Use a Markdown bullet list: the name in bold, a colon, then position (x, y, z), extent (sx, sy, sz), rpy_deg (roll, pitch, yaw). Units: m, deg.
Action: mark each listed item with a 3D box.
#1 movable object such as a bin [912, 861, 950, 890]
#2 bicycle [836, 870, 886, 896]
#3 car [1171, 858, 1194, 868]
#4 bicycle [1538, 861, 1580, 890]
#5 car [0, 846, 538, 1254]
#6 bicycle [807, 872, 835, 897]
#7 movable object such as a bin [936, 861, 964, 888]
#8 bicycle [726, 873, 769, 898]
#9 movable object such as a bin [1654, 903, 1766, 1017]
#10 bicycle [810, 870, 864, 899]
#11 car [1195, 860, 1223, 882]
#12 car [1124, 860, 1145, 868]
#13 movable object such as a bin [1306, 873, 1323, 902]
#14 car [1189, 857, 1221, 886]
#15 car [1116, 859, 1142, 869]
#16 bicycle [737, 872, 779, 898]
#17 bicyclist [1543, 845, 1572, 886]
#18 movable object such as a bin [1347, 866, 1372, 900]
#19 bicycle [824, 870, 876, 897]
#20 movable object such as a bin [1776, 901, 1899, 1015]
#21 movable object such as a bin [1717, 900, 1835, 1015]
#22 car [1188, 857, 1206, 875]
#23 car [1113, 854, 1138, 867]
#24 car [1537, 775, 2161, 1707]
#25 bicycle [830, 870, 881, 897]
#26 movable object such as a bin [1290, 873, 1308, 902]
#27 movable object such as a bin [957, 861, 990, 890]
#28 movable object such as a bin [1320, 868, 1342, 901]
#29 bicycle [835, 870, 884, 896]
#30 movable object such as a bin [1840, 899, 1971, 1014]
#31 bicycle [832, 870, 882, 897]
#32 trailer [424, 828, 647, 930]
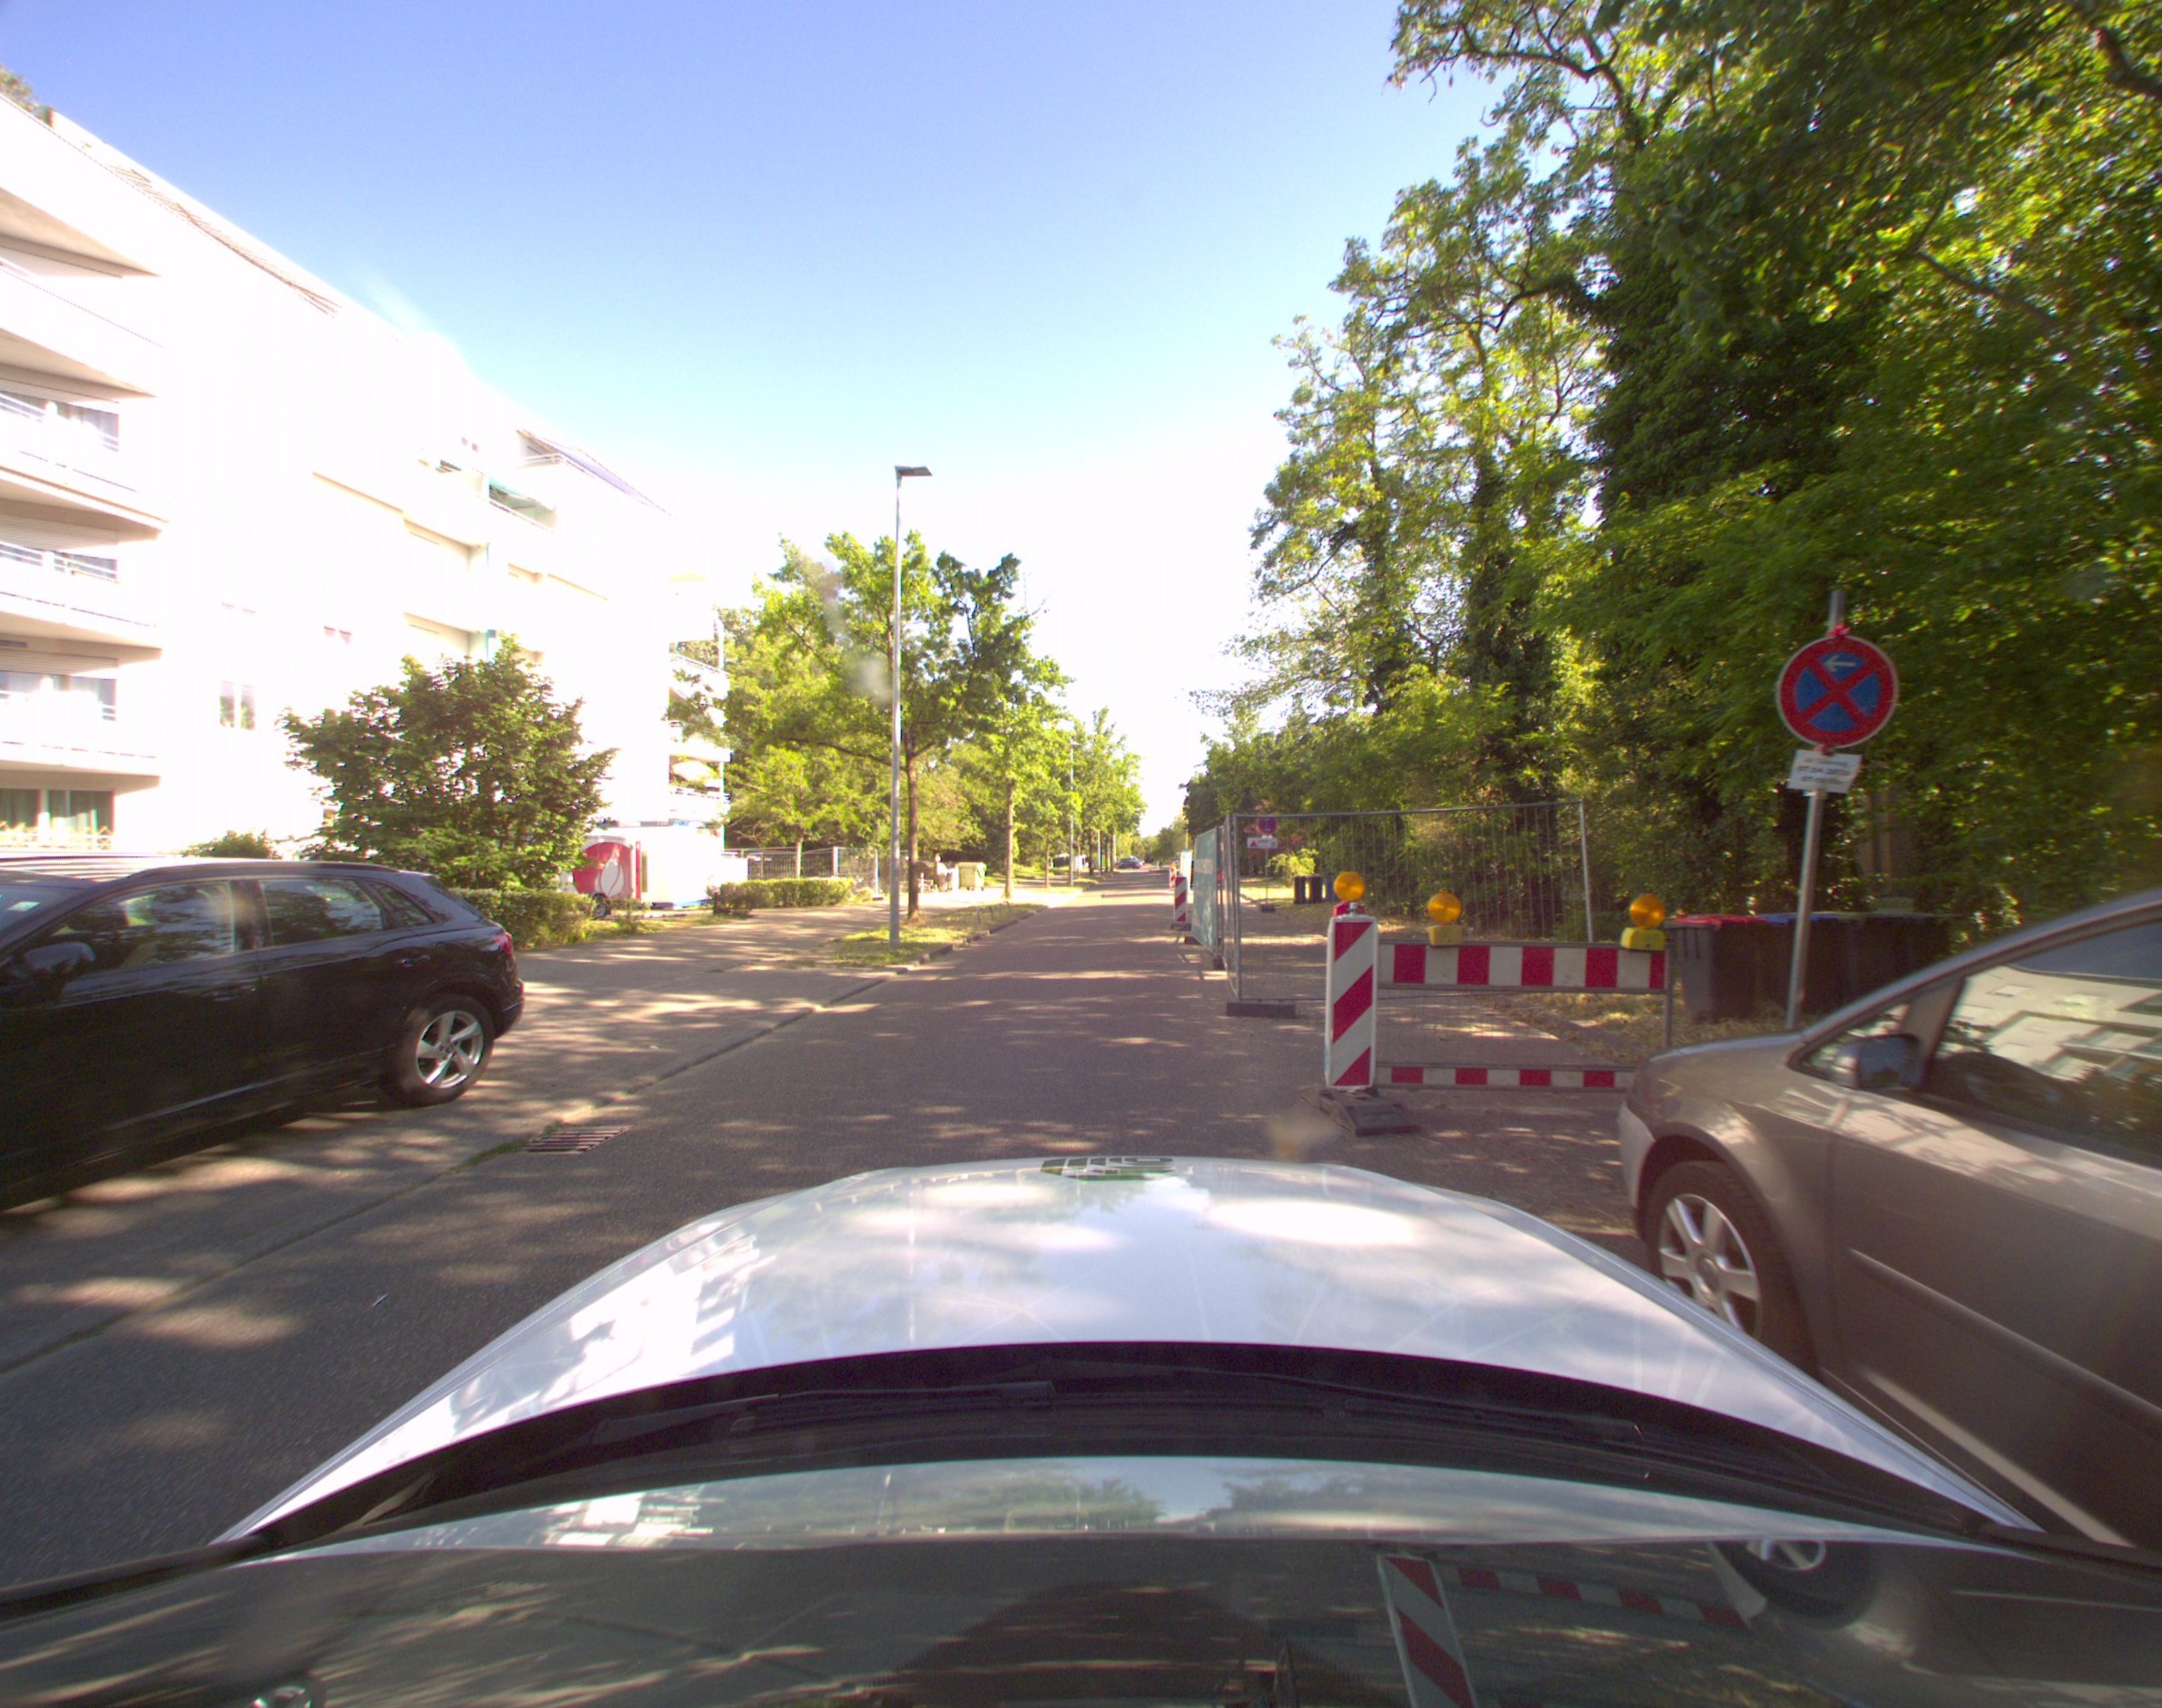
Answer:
- **movable object such as a bin**: position (-7.553, 1.066, 41.016), extent (1.257, 1.435, 1.334), rpy_deg (-2, -1, 33)
- **bicycle**: position (-8.931, 1.168, 33.135), extent (1.913, 1.027, 0.399), rpy_deg (-1, -2, -8)
- **car**: position (17.546, 1.593, 140.778), extent (3.813, 1.576, 1.694), rpy_deg (1, -1, 12)
- **bicycle**: position (17.748, 0.797, 30.273), extent (0.629, 1.040, 1.787), rpy_deg (-1, -1, 5)
- **car**: position (-5.129, 0.778, 4.004), extent (1.767, 1.621, 4.227), rpy_deg (1, 0, 5)
- **bicycle**: position (-10.932, 1.282, 34.287), extent (0.397, 1.027, 1.704), rpy_deg (-1, -1, 8)
- **movable object such as a bin**: position (-7.066, 1.096, 43.841), extent (1.148, 1.435, 1.261), rpy_deg (-1, -1, -28)
- **bicycle**: position (-13.712, 1.291, 33.445), extent (1.684, 1.027, 0.402), rpy_deg (-1, -2, 11)
- **movable object such as a bin**: position (5.134, 0.850, 6.671), extent (0.481, 0.861, 0.560), rpy_deg (-1, -1, 3)
- **bicycle**: position (-9.085, 1.143, 30.360), extent (1.867, 1.027, 0.399), rpy_deg (-1, -2, -8)
- **car**: position (8.753, 1.143, 55.949), extent (1.653, 1.375, 4.161), rpy_deg (1, 0, 5)
- **car**: position (10.637, 2.022, 162.321), extent (4.084, 1.576, 1.962), rpy_deg (1, -1, 7)
- **movable object such as a bin**: position (7.262, 1.025, 25.322), extent (0.411, 0.870, 0.485), rpy_deg (-3, -1, 6)
- **car**: position (7.522, 1.002, 49.192), extent (1.799, 1.651, 4.432), rpy_deg (1, 0, 10)
- **car**: position (8.603, 1.787, 146.117), extent (4.289, 1.576, 2.053), rpy_deg (1, -1, 12)
- **bicycle**: position (-13.538, 1.295, 34.109), extent (1.684, 1.027, 0.402), rpy_deg (-1, -2, 11)
- **bicyclist**: position (17.751, 0.441, 30.359), extent (0.629, 1.499, 0.841), rpy_deg (-1, -1, 5)
- **movable object such as a bin**: position (8.569, 0.894, 25.070), extent (0.560, 0.999, 0.609), rpy_deg (-3, -1, 6)
- **bicycle**: position (-8.859, 1.132, 31.287), extent (1.853, 1.027, 0.399), rpy_deg (-1, -2, -8)
- **movable object such as a bin**: position (6.141, 0.829, 6.636), extent (0.481, 0.861, 0.560), rpy_deg (-1, -1, 3)
- **movable object such as a bin**: position (5.647, 0.824, 6.642), extent (0.481, 0.861, 0.560), rpy_deg (-1, -1, 3)
- **car**: position (11.467, 1.159, 80.412), extent (1.615, 1.773, 3.674), rpy_deg (1, 0, 6)
- **car**: position (9.329, 1.337, 171.448), extent (5.182, 2.621, 2.293), rpy_deg (1, -1, 0)
- **car**: position (2.537, 0.686, 1.227), extent (1.671, 1.621, 4.142), rpy_deg (0, 0, 5)
- **bicycle**: position (-8.786, 1.140, 31.757), extent (1.836, 1.027, 0.399), rpy_deg (-1, -2, -8)
- **movable object such as a bin**: position (6.780, 1.048, 25.321), extent (0.411, 0.870, 0.485), rpy_deg (-3, -1, 6)
- **movable object such as a bin**: position (-5.533, 1.104, 42.031), extent (1.258, 1.435, 1.188), rpy_deg (-2, -1, 21)
- **movable object such as a bin**: position (7.732, 0.935, 25.188), extent (0.516, 0.999, 0.609), rpy_deg (-3, -1, 6)
- **bicycle**: position (-8.880, 1.156, 32.663), extent (1.836, 1.027, 0.399), rpy_deg (-1, -2, -8)
- **movable object such as a bin**: position (6.614, 0.807, 6.555), extent (0.481, 0.861, 0.560), rpy_deg (-1, -1, 3)
- **bicycle**: position (-8.848, 1.151, 32.236), extent (1.857, 1.027, 0.399), rpy_deg (-1, -2, -8)
- **trailer**: position (-12.627, 0.527, 19.272), extent (1.853, 2.120, 4.357), rpy_deg (1, 0, 9)
